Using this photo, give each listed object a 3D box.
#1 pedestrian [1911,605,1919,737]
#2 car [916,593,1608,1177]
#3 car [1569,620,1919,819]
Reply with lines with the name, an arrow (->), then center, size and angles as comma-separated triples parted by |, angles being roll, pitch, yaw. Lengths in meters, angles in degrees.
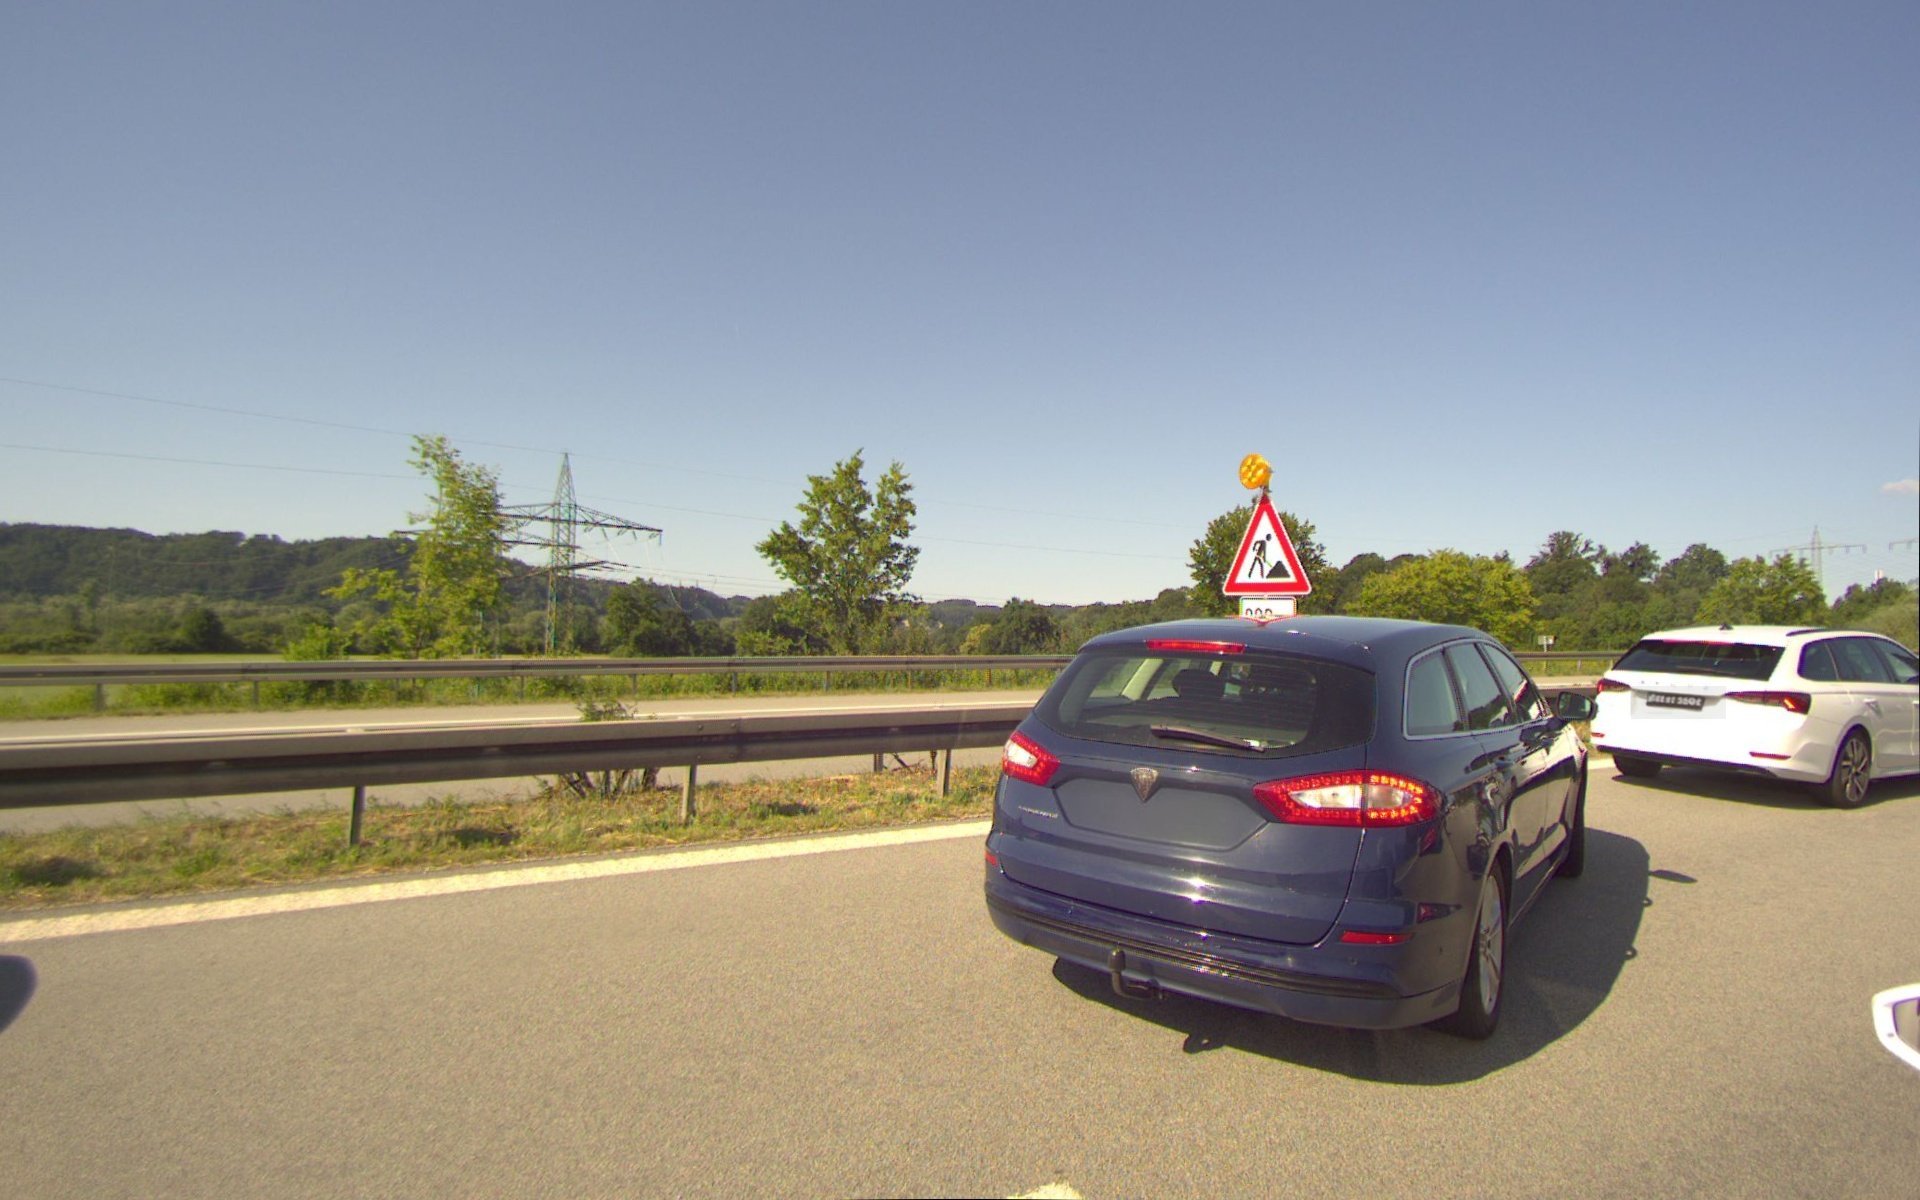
pedestrian -> 13.341, 0.958, 13.163 | 1.026, 1.786, 1.116 | 0, -1, 31
car -> 1.906, 0.801, 4.933 | 1.766, 1.513, 4.475 | 0, -2, 38
car -> 7.727, 0.957, 9.356 | 4.159, 1.461, 1.687 | 1, 0, -29
